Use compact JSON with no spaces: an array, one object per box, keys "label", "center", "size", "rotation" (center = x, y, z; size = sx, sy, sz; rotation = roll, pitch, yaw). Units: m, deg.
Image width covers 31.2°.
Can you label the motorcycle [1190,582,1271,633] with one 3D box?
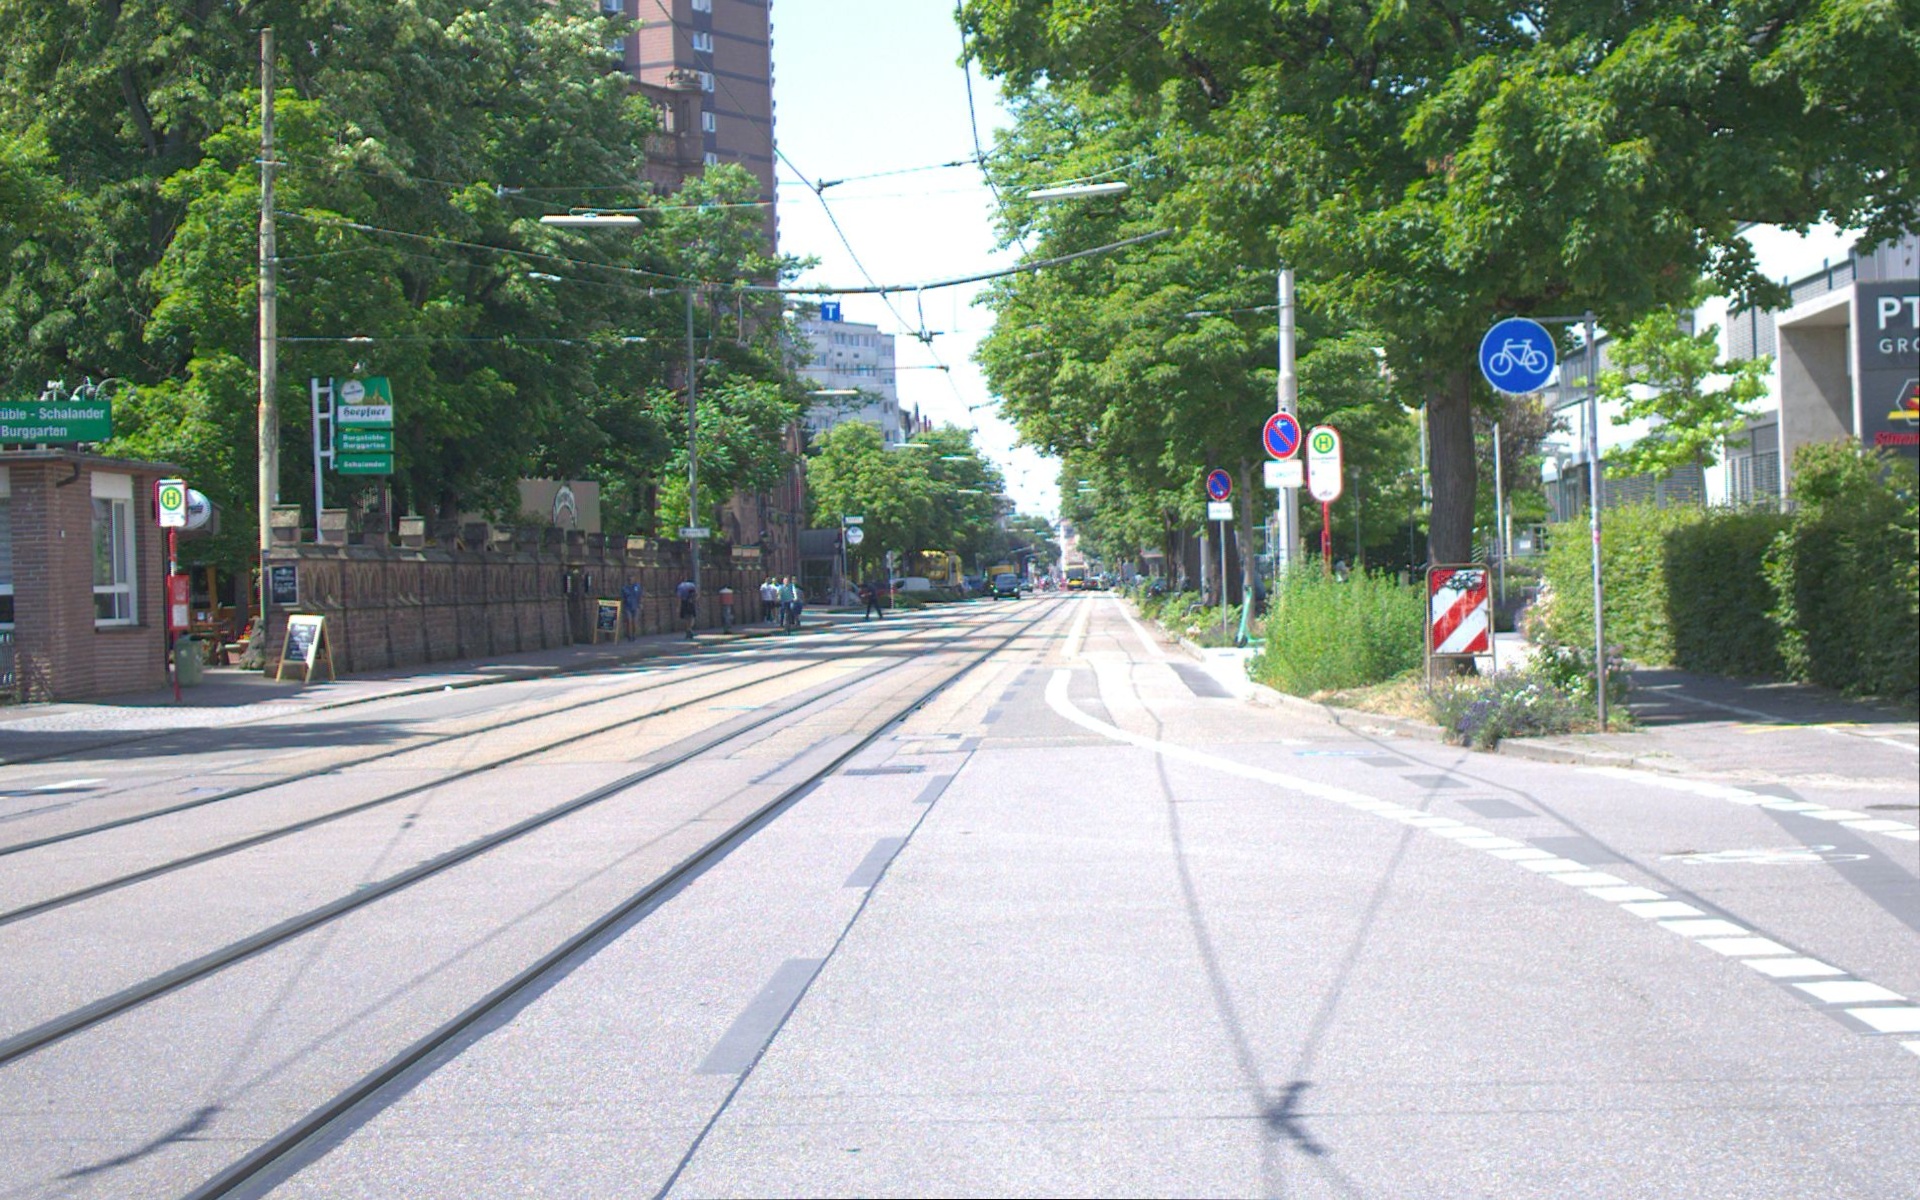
[{"label":"motorcycle","center":[6.279,0.175,79.871],"size":[1.824,1.106,0.598],"rotation":[-2,0,3]}]

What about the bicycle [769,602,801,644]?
[{"label":"bicycle","center":[-5.280,0.693,103.888],"size":[0.701,1.200,2.240],"rotation":[-4,0,2]}]

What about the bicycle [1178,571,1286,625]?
[{"label":"bicycle","center":[6.552,-0.046,82.786],"size":[2.511,1.205,0.648],"rotation":[-2,0,7]}]

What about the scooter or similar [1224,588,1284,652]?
[{"label":"scooter or similar","center":[5.536,0.377,64.795],"size":[1.058,1.152,0.370],"rotation":[-3,0,3]}]

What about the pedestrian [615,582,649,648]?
[{"label":"pedestrian","center":[-8.741,0.398,91.692],"size":[0.743,1.722,0.867],"rotation":[-1,0,2]}]

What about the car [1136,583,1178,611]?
[{"label":"car","center":[9.802,-0.166,171.460],"size":[1.994,1.306,4.000],"rotation":[-2,0,2]}]

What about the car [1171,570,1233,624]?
[{"label":"car","center":[7.060,-0.110,100.534],"size":[1.634,1.496,4.000],"rotation":[-2,0,2]}]

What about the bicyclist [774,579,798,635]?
[{"label":"bicyclist","center":[-5.252,0.201,103.843],"size":[0.642,1.674,0.815],"rotation":[-2,0,1]}]

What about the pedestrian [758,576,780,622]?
[{"label":"pedestrian","center":[-7.268,-0.052,130.911],"size":[0.743,1.722,0.867],"rotation":[-1,0,2]}]

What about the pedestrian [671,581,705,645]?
[{"label":"pedestrian","center":[-7.566,0.349,95.738],"size":[0.815,1.764,0.924],"rotation":[-1,0,2]}]

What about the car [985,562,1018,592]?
[{"label":"car","center":[2.916,-1.592,240.304],"size":[1.994,2.007,3.999],"rotation":[-1,0,5]}]
